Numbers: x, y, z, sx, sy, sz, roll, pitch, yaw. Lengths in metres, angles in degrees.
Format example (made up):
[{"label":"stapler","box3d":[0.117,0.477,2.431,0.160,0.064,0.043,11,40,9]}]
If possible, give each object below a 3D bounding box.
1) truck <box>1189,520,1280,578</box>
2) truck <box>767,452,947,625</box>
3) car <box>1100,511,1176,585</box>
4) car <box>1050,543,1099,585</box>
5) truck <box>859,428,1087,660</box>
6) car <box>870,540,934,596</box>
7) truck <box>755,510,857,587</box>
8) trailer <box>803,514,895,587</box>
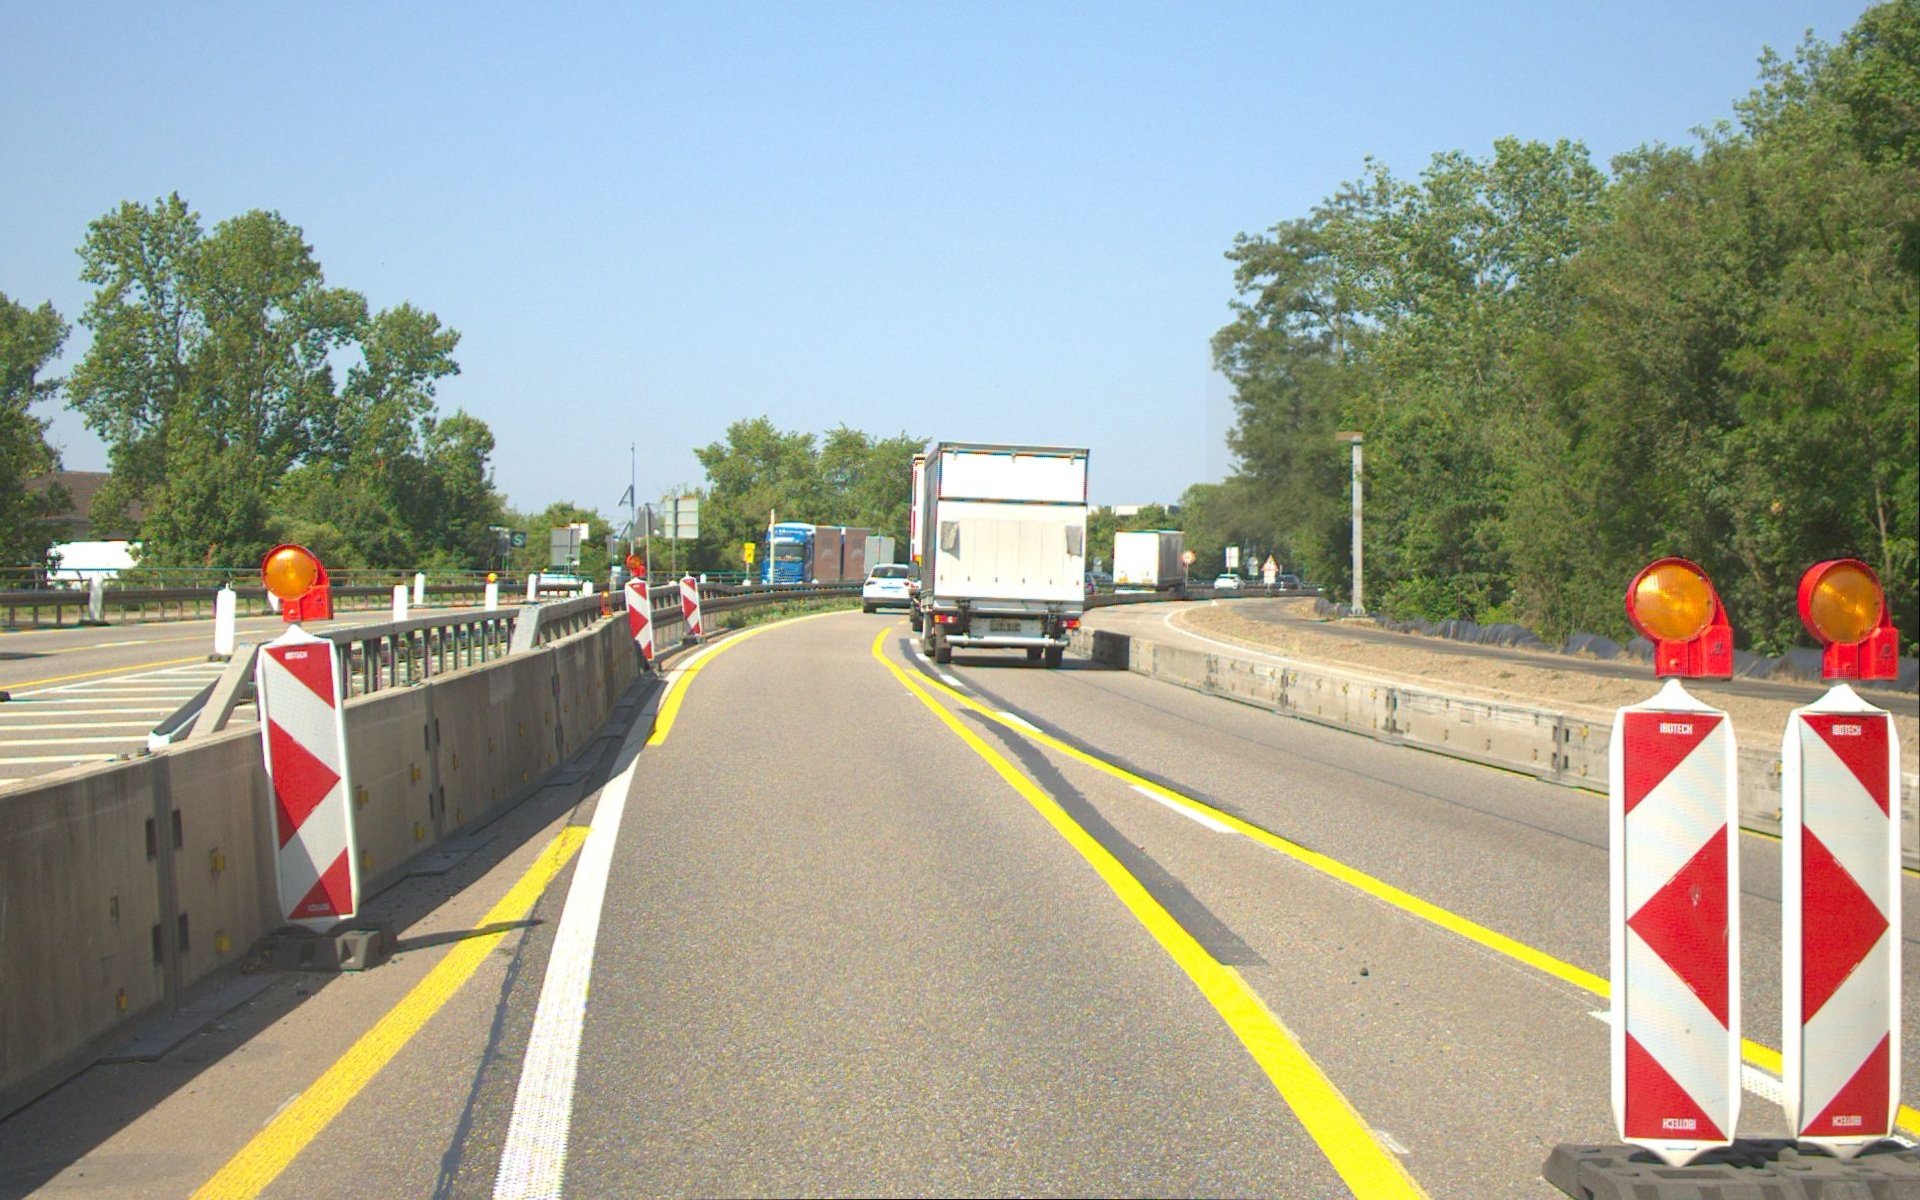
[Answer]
[{"label":"truck","box3d":[20.766,-3.840,259.231,4.224,4.252,10.231,0,1,20]},{"label":"truck","box3d":[-2.469,-1.406,79.294,3.387,3.761,7.235,-1,1,-7]},{"label":"car","box3d":[10.557,-3.074,202.916,4.208,4.237,10.660,-1,1,4]},{"label":"car","box3d":[5.656,-1.758,168.790,1.994,2.007,3.999,-1,1,8]},{"label":"truck","box3d":[0.093,-0.910,55.078,2.633,3.416,7.235,1,1,-8]},{"label":"car","box3d":[-1.863,-1.056,111.084,1.816,1.770,4.000,-1,1,2]},{"label":"truck","box3d":[-8.513,-2.829,191.722,3.039,4.077,10.618,2,1,12]},{"label":"trailer","box3d":[-6.444,-2.899,201.713,3.039,4.077,9.783,2,1,12]}]
